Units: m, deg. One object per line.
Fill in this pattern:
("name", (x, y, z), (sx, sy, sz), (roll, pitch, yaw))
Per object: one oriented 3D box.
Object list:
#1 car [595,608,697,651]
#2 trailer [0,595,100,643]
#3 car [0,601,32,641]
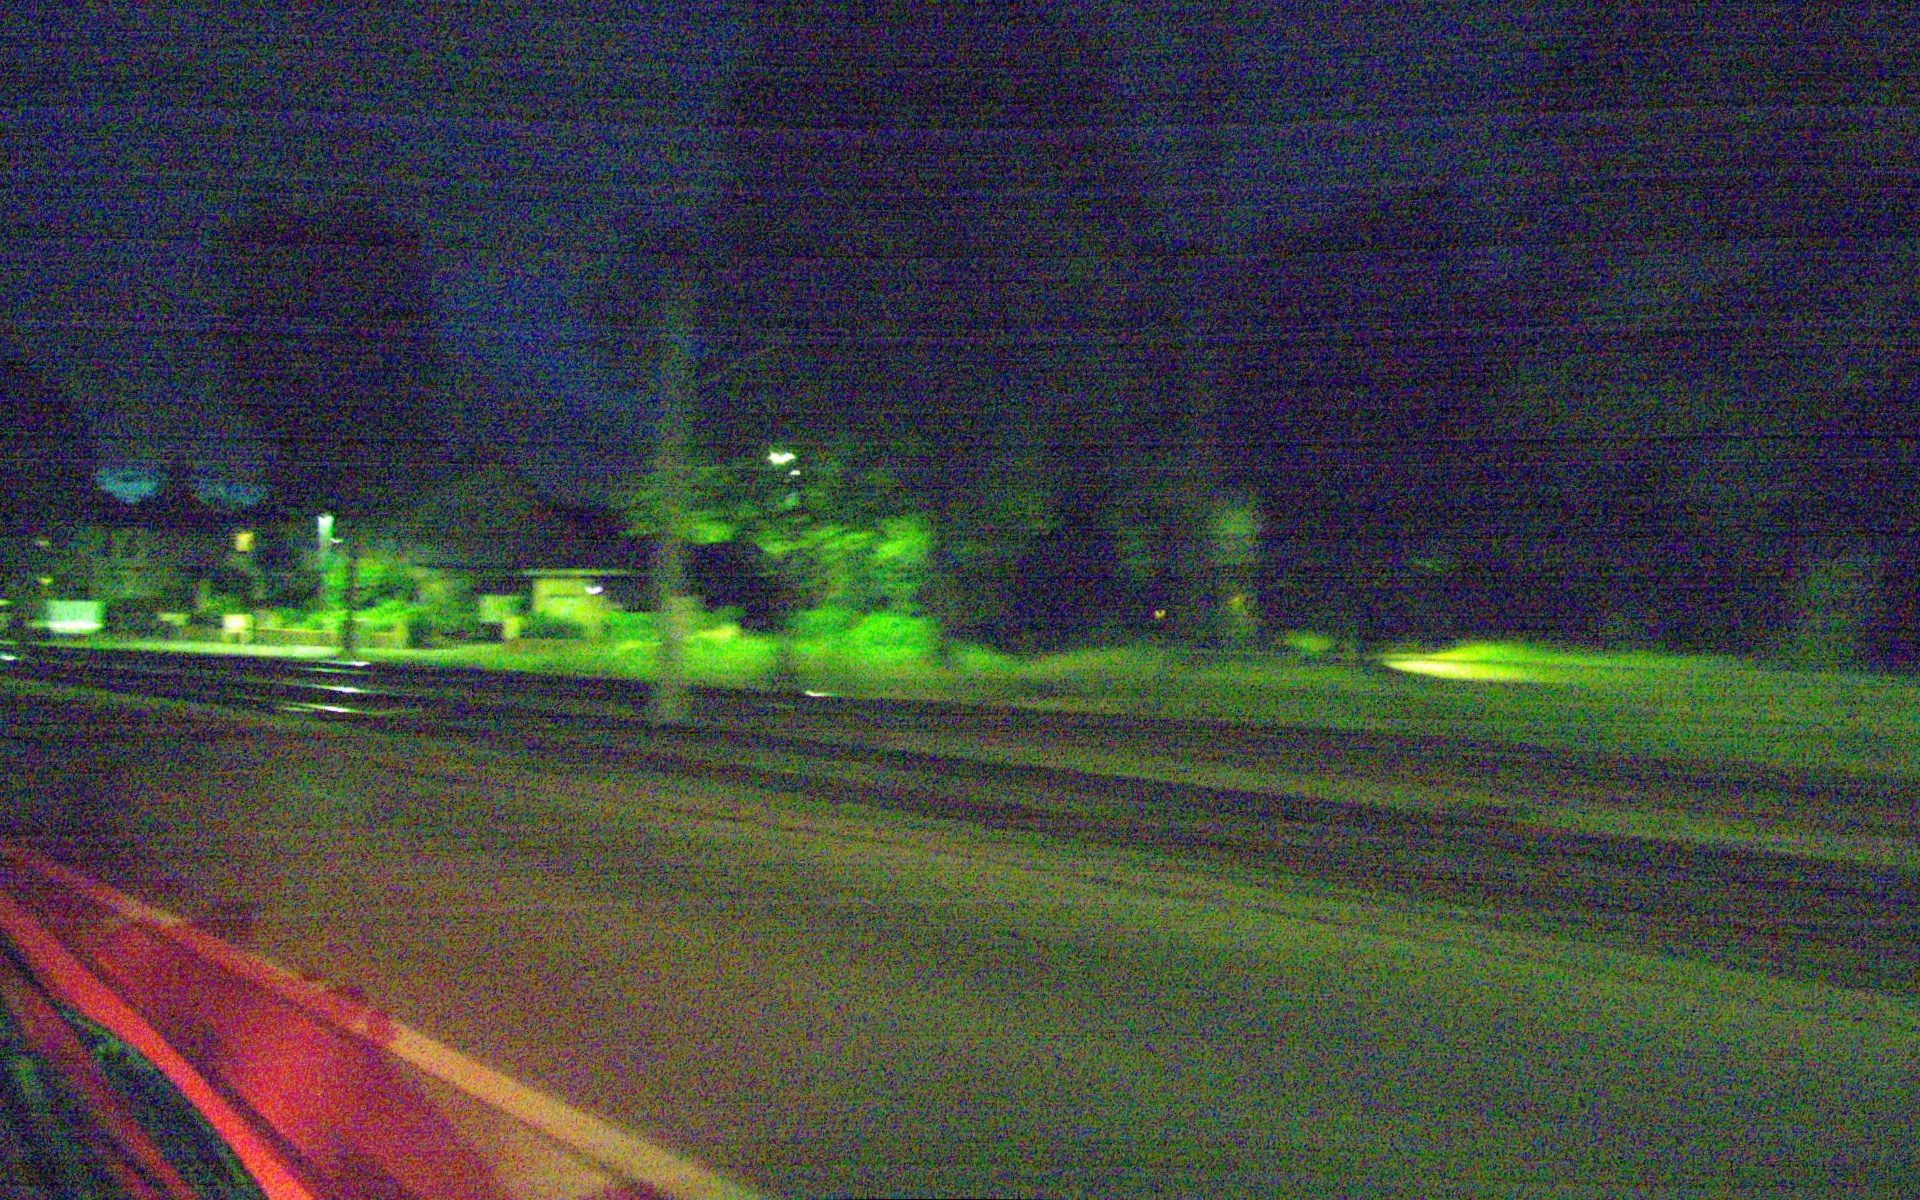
("car", (-13.088, 1.183, 42.378), (1.751, 1.621, 3.958), (1, 1, 31))
("trailer", (-37.248, 0.745, 40.840), (5.651, 1.794, 2.010), (1, -3, 30))
("car", (-41.781, 0.821, 43.307), (4.518, 1.589, 1.704), (1, -4, 31))
